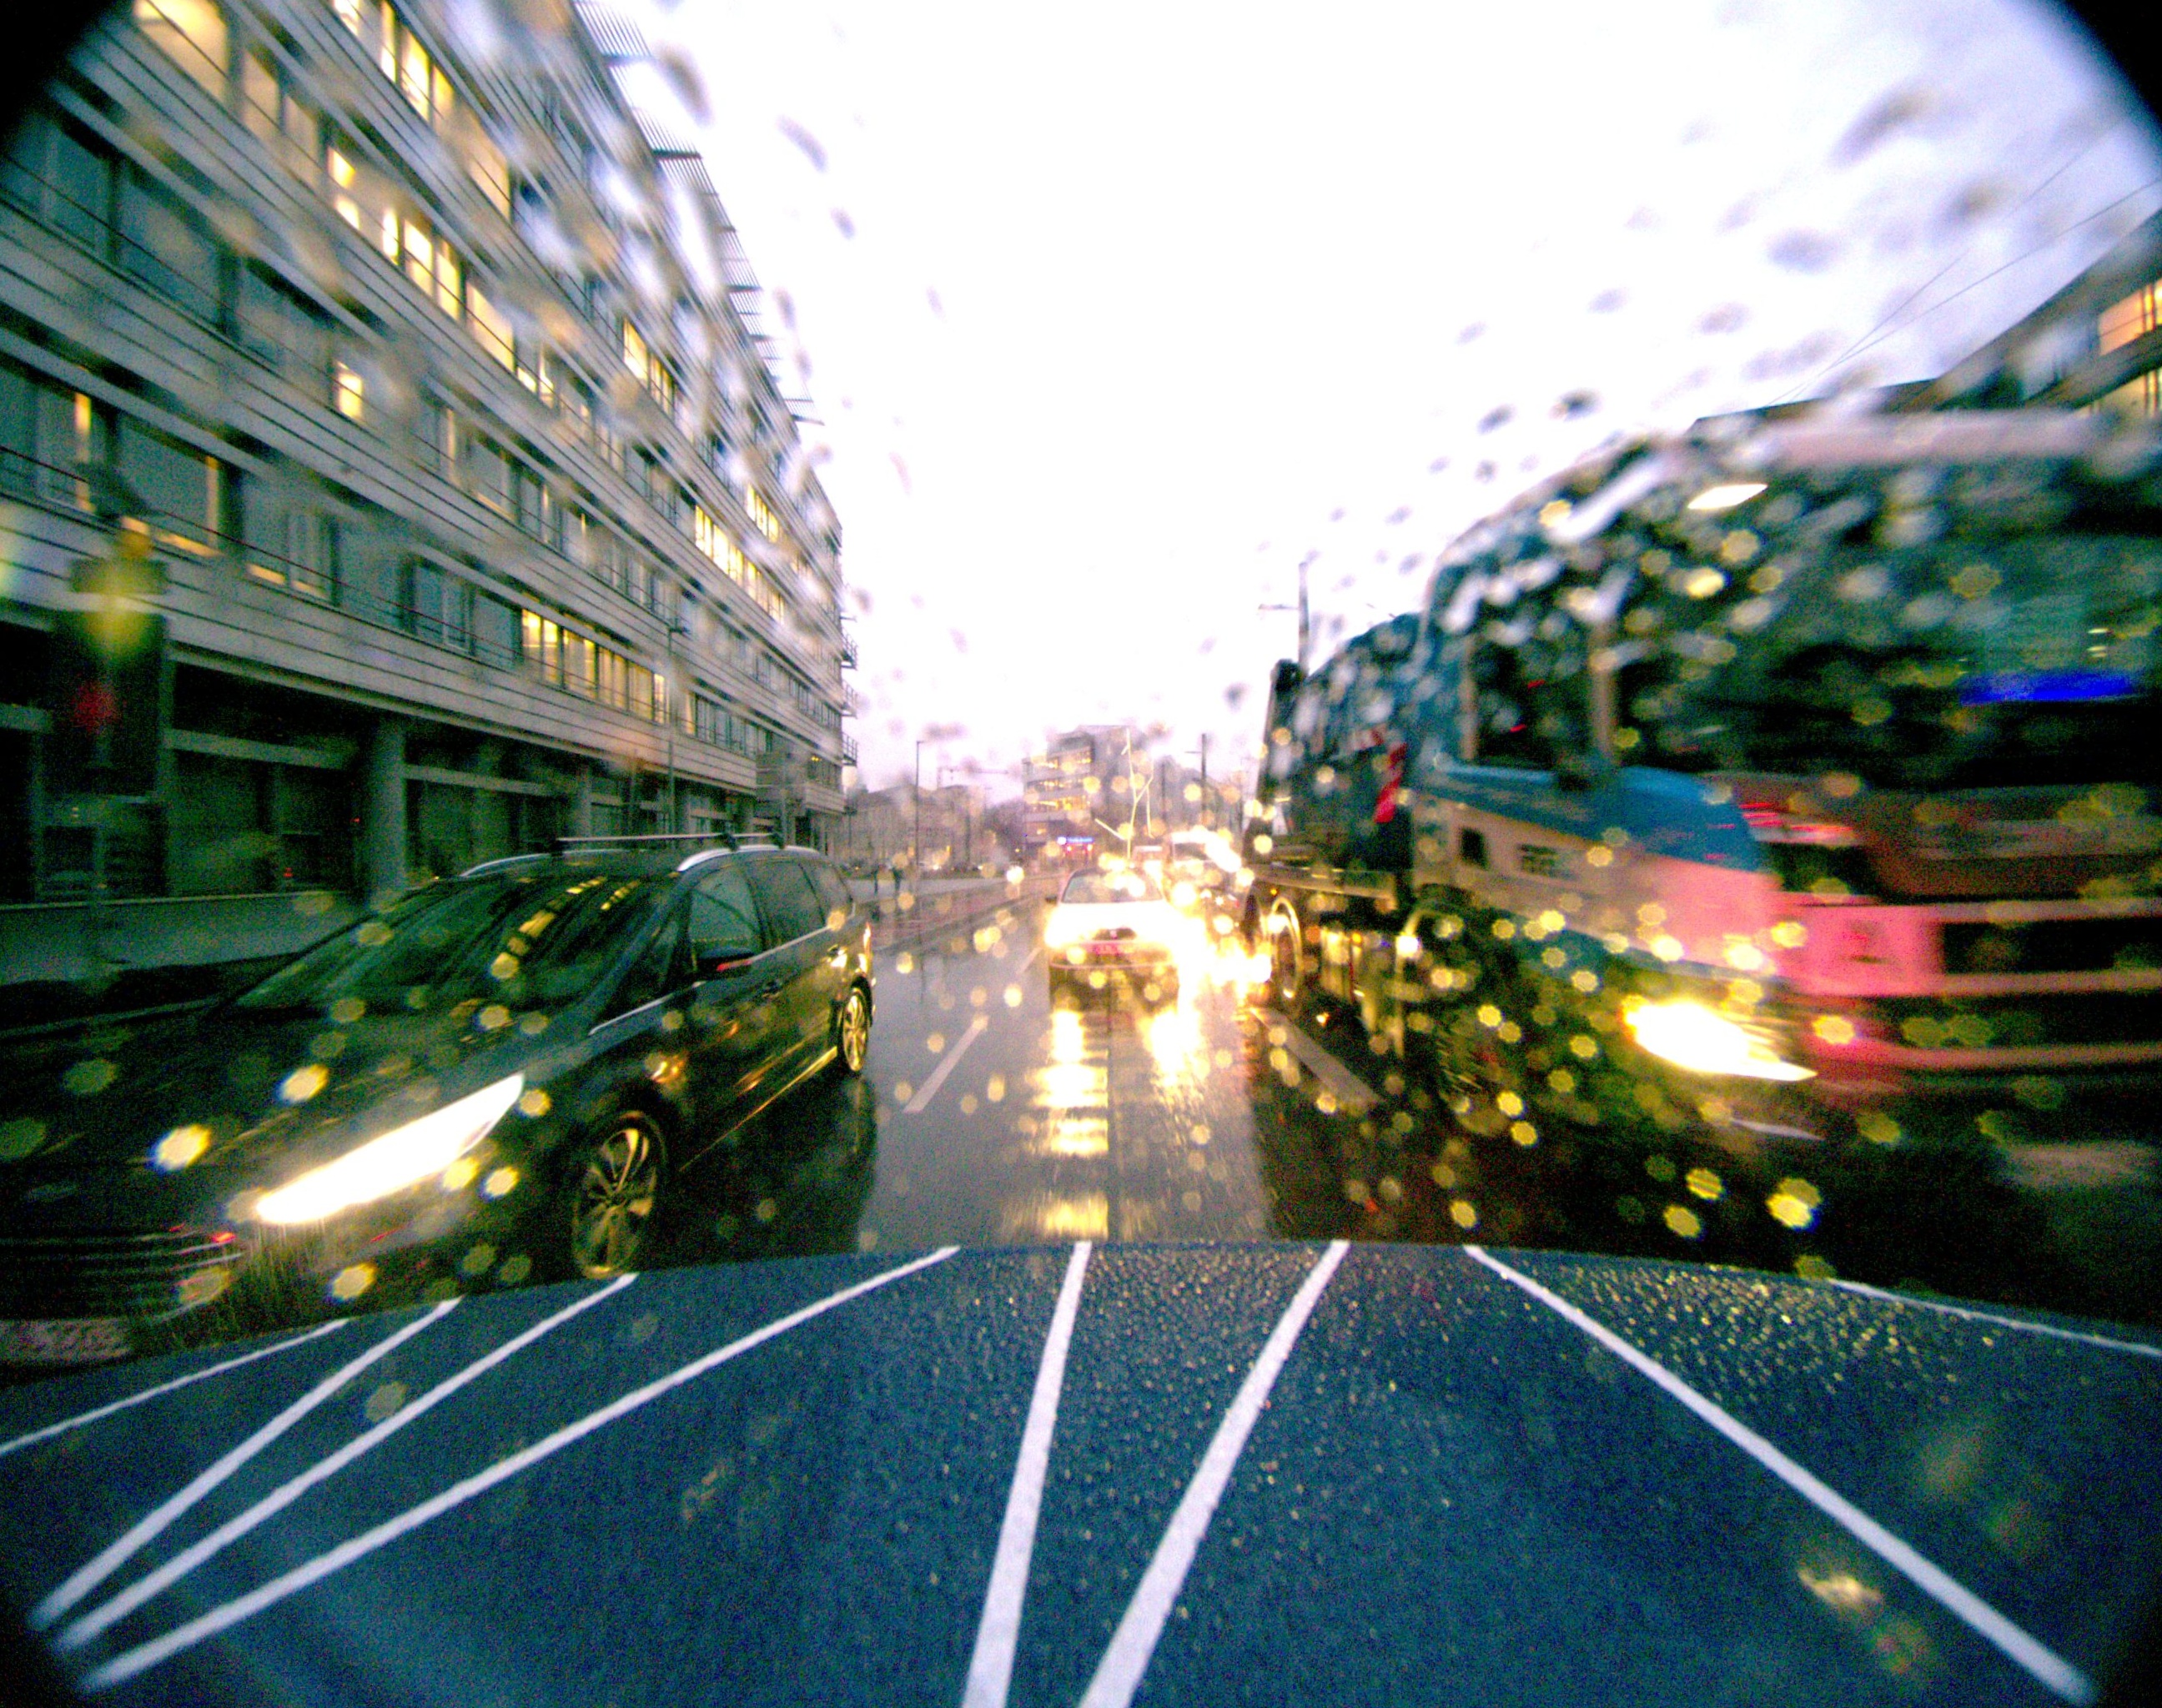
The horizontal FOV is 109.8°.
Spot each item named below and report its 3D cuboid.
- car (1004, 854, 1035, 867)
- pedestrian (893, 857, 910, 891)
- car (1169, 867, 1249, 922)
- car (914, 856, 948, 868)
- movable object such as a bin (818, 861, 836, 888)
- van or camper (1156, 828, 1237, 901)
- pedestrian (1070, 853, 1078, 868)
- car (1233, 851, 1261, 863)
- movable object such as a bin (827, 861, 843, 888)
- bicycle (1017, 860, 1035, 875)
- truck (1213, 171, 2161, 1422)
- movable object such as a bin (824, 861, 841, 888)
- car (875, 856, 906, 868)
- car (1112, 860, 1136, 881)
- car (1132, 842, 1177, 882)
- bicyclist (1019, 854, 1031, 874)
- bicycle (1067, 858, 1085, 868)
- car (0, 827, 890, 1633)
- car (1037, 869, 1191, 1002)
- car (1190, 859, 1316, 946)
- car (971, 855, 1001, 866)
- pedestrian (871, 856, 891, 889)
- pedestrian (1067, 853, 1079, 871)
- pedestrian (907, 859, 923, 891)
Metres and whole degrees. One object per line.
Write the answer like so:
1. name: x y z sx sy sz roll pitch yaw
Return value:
1. car: -8.597 0.927 106.495 3.918 1.699 1.782 -1 0 14
2. pedestrian: -9.383 1.038 39.764 0.651 1.692 0.884 1 0 -3
3. car: 3.518 1.073 21.535 1.759 1.337 4.057 -1 0 3
4. car: -21.877 1.196 110.671 4.368 1.750 2.002 -1 0 16
5. movable object such as a bin: -13.491 1.072 40.369 0.666 1.420 0.840 -1 1 -3
6. van or camper: 4.324 0.377 29.436 2.153 2.517 5.898 -1 0 0
7. pedestrian: -0.819 0.812 91.767 0.892 1.783 0.668 0 1 3
8. car: 22.549 0.394 103.465 1.795 1.412 3.890 -3 3 -22
9. movable object such as a bin: -13.657 1.108 42.195 0.666 1.468 0.840 -1 1 -3
10. bicycle: -4.909 1.204 68.034 0.680 1.191 1.764 -3 0 27
11. truck: 3.149 -0.169 5.973 2.846 3.612 7.526 -1 0 0
12. movable object such as a bin: -13.490 1.089 41.265 0.666 1.420 0.840 -1 1 -3
13. car: -28.326 1.209 113.007 3.997 1.663 2.002 -1 0 16
14. car: 4.258 1.613 75.851 2.170 1.744 4.540 1 2 0
15. car: 5.451 0.603 57.483 2.131 2.847 5.809 -1 0 -7
16. bicyclist: -5.022 0.876 67.880 0.670 1.787 0.808 -3 1 27
17. bicycle: -0.619 1.117 91.805 2.203 1.182 0.668 0 1 4
18. car: -2.653 0.871 4.052 1.887 1.800 4.671 -2 0 2
19. car: 0.408 0.998 10.853 1.782 1.464 3.943 -1 0 1
20. car: 3.313 0.894 15.352 1.634 1.514 3.942 0 -1 0
21. car: -13.487 0.949 107.670 3.759 1.528 1.783 0 0 17
22. pedestrian: -10.607 0.989 40.335 0.747 1.692 0.969 2 0 -3
23. pedestrian: -0.919 0.887 87.044 1.118 2.002 1.034 0 1 15
24. pedestrian: -8.693 1.107 39.826 0.616 1.659 0.884 1 0 -3
